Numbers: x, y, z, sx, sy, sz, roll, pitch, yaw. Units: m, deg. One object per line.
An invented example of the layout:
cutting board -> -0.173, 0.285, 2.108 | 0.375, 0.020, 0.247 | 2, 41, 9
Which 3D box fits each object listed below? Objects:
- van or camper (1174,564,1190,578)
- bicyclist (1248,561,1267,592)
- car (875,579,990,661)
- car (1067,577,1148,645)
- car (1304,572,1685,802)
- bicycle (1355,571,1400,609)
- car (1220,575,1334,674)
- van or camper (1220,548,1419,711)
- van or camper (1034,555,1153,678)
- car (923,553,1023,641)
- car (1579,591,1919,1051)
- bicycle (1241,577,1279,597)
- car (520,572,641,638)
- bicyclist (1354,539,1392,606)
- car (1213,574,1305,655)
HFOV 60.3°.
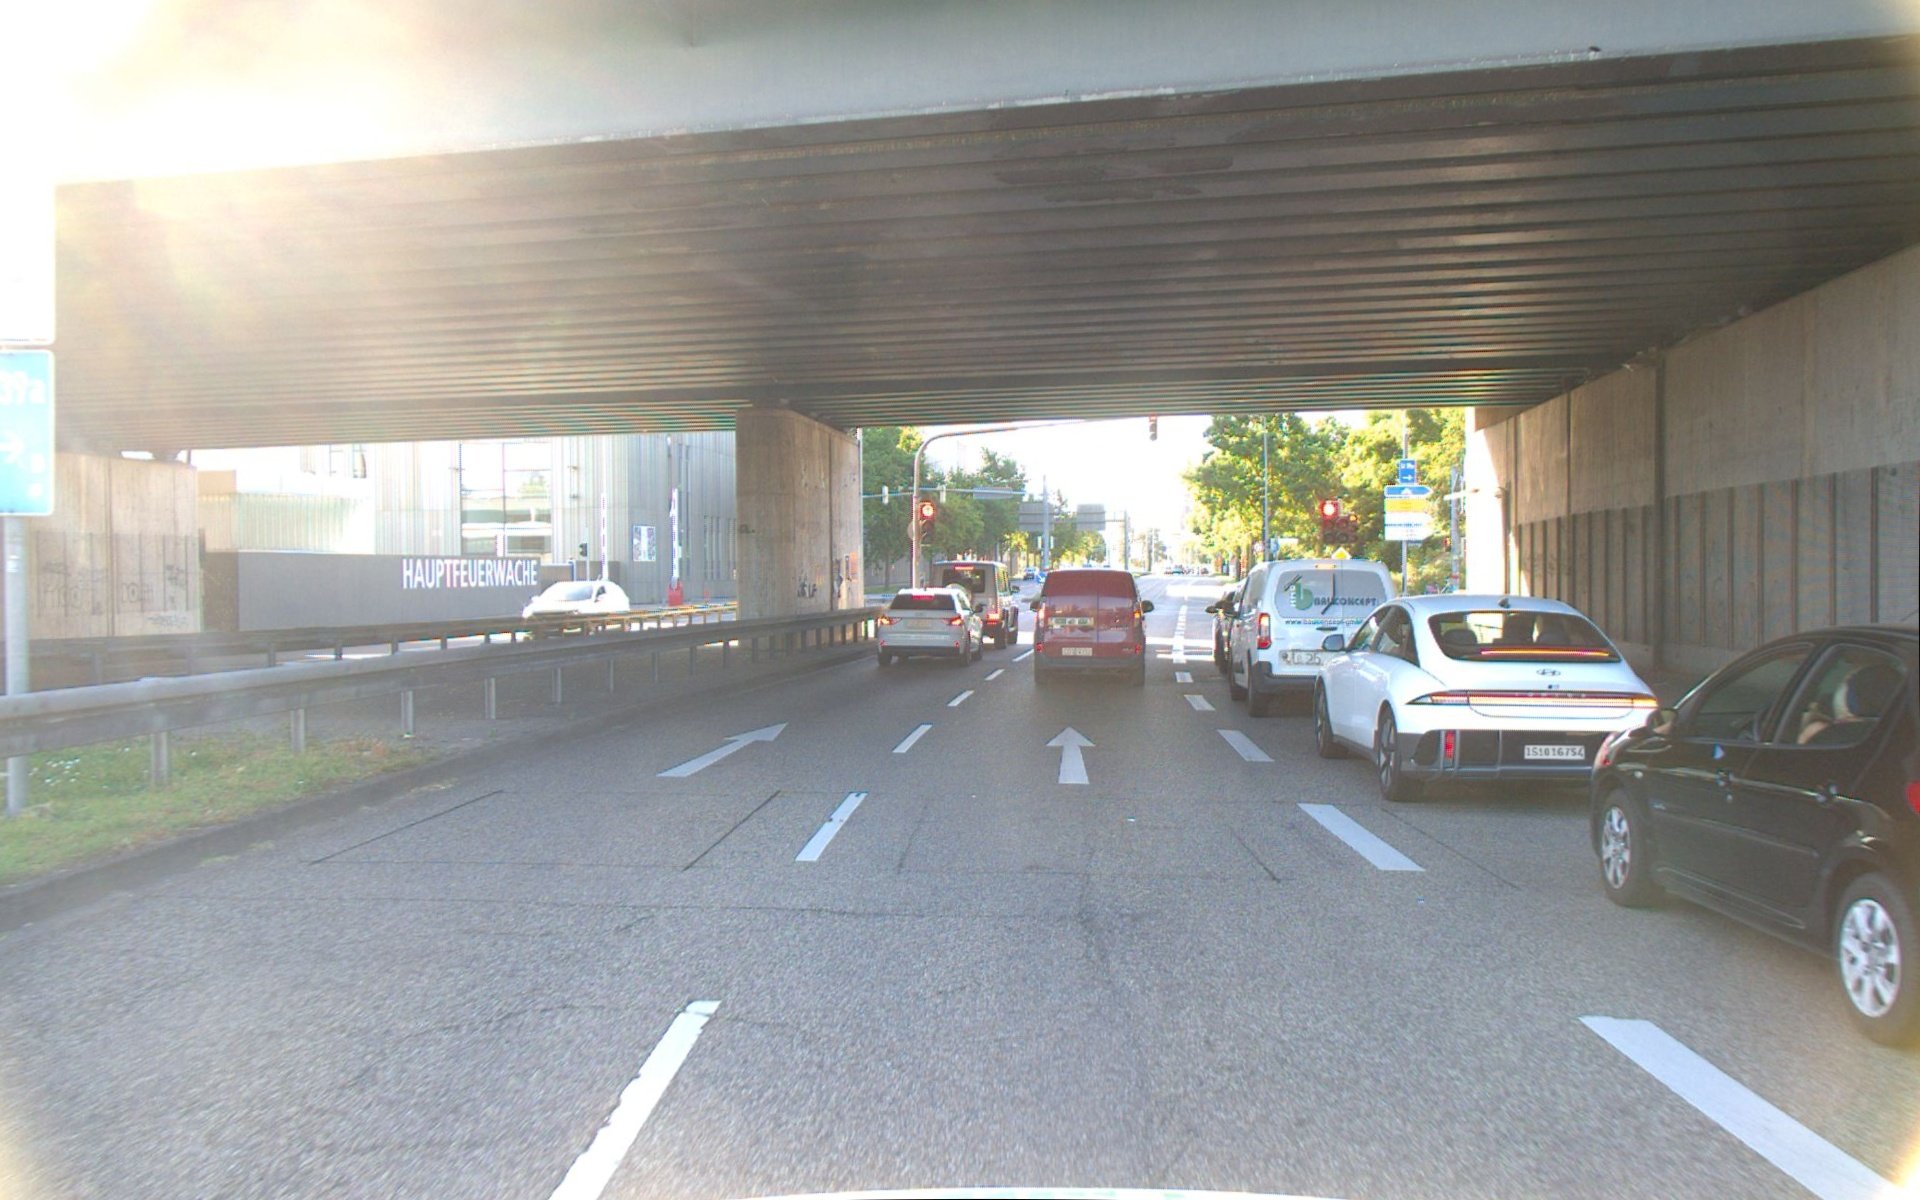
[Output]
van or camper -> 32.334, -4.195, 240.728 | 1.747, 1.896, 3.912 | -3, 0, 13
bicyclist -> 16.044, -1.275, 89.107 | 0.902, 1.611, 0.770 | -3, 0, 11
car -> -0.467, 0.341, 31.800 | 1.671, 1.478, 3.746 | 0, 0, 8
car -> 3.562, 0.237, 39.357 | 1.726, 1.501, 4.292 | -1, 0, 7
car -> 3.995, 0.575, 13.132 | 1.727, 1.501, 4.290 | -1, 0, 1
bicycle -> 10.393, -0.247, 41.211 | 0.756, 0.909, 1.998 | -3, 0, 5
car -> 5.266, 0.370, 27.806 | 1.671, 1.549, 3.746 | 0, 0, 8
van or camper -> 4.410, 0.315, 20.913 | 1.787, 1.822, 4.547 | 0, 0, 4
van or camper -> 2.239, 0.237, 26.984 | 1.716, 1.845, 3.962 | 0, 0, 8
car -> 0.375, -0.084, 39.267 | 1.826, 1.981, 4.600 | 0, 0, 8
car -> 3.978, 0.722, 6.831 | 1.571, 1.459, 3.680 | 1, 1, 2
bicycle -> 16.173, -0.689, 89.096 | 1.947, 0.977, 0.775 | -3, 0, 12
car -> -10.078, 0.117, 44.243 | 1.745, 1.674, 4.205 | 0, 0, 8
bicyclist -> 10.274, -0.675, 41.157 | 0.735, 1.611, 0.926 | -3, 0, 6
car -> 6.005, 0.266, 33.501 | 1.671, 1.547, 3.746 | 0, 0, 8
